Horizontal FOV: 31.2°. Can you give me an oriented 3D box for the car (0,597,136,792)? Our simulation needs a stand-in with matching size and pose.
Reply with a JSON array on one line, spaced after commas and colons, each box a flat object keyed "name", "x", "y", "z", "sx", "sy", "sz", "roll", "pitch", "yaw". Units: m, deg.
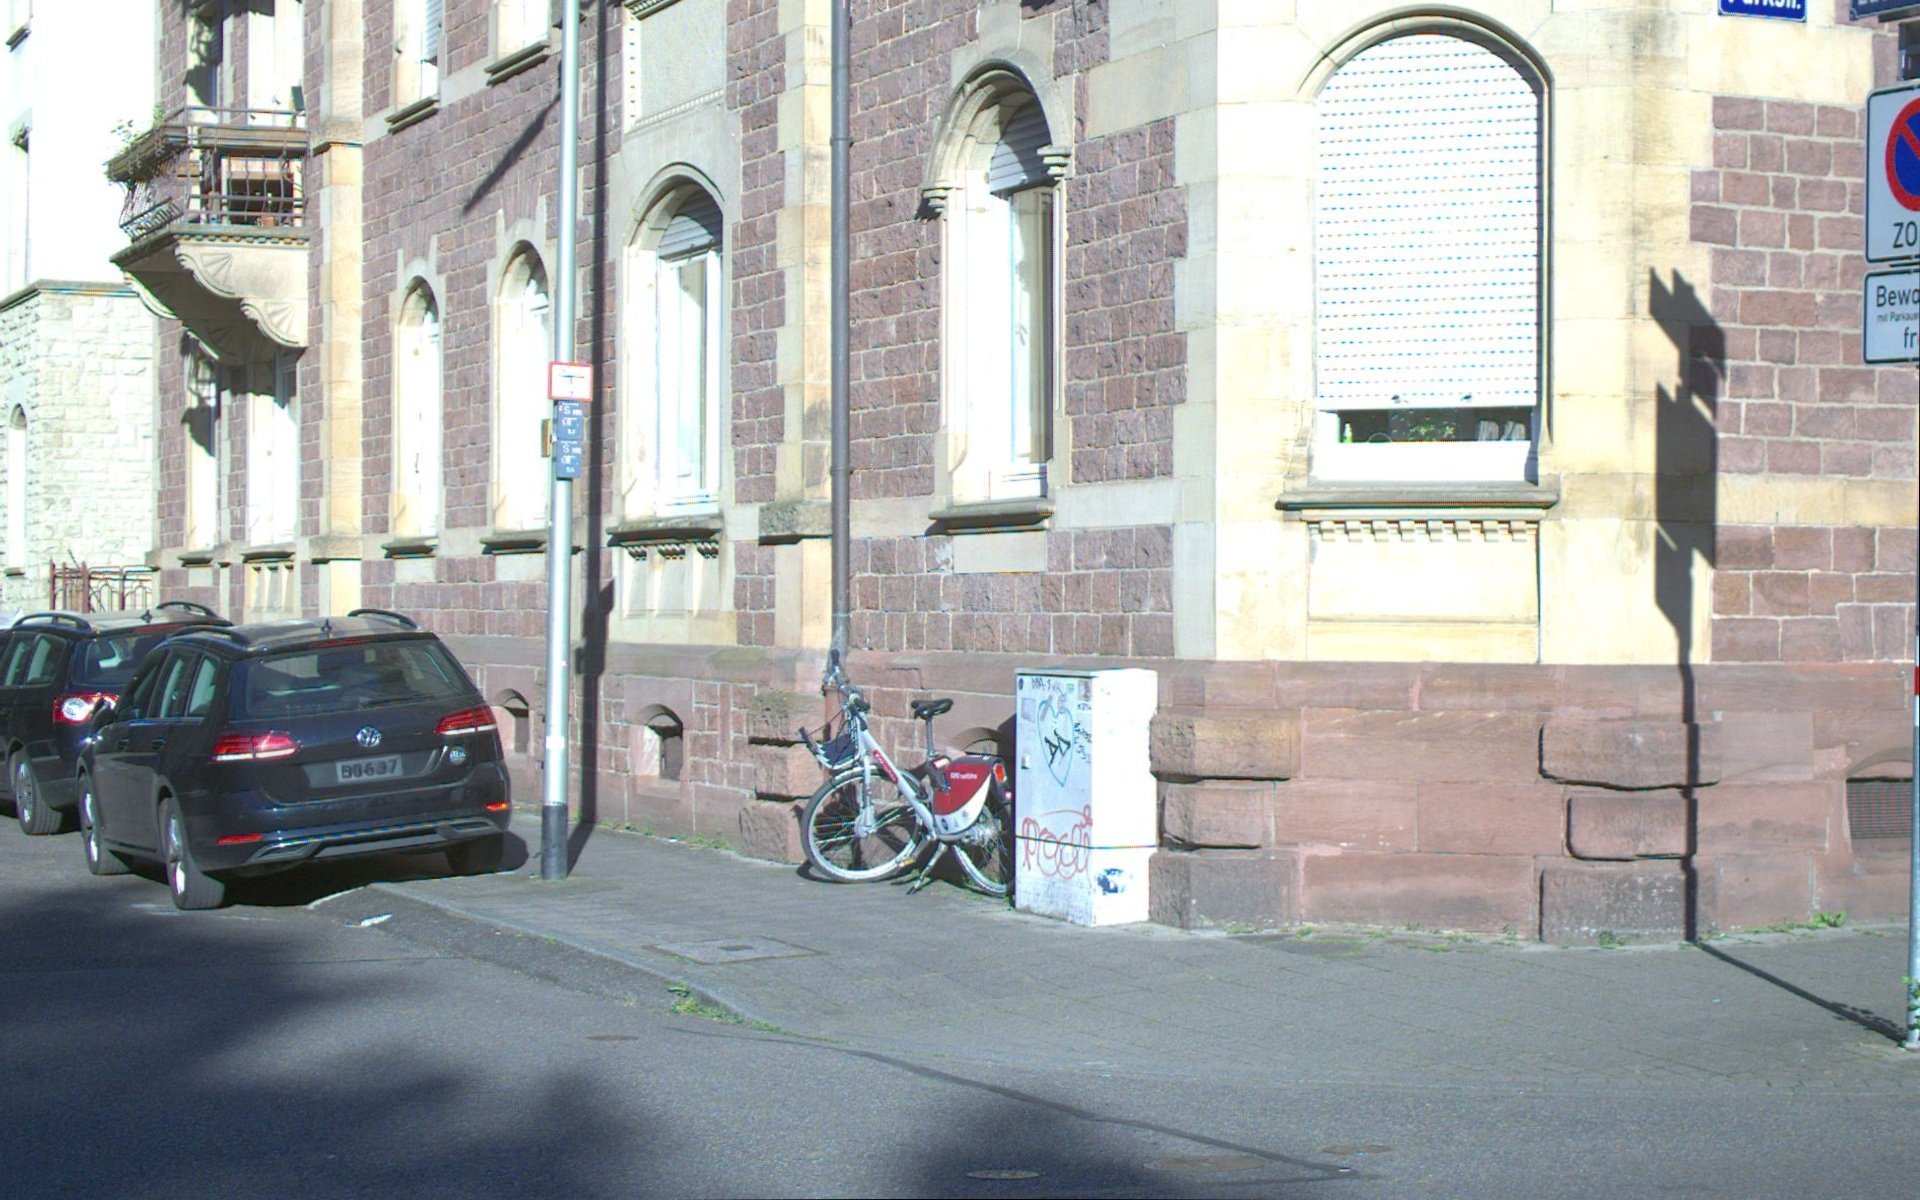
[{"name": "car", "x": -8.395, "y": 0.765, "z": 29.731, "sx": 1.737, "sy": 1.576, "sz": 4.001, "roll": 2, "pitch": -1, "yaw": -24}]

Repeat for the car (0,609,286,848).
[{"name": "car", "x": -6.208, "y": 0.870, "z": 24.862, "sx": 1.737, "sy": 1.576, "sz": 4.001, "roll": 2, "pitch": -1, "yaw": -24}]

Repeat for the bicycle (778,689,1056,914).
[{"name": "bicycle", "x": -0.228, "y": 0.951, "z": 16.635, "sx": 0.514, "sy": 0.994, "sz": 1.576, "roll": 2, "pitch": -1, "yaw": -36}]

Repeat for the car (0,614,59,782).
[{"name": "car", "x": -10.128, "y": 0.911, "z": 33.926, "sx": 1.737, "sy": 1.576, "sz": 4.001, "roll": 2, "pitch": -1, "yaw": -24}]

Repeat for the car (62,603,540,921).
[{"name": "car", "x": -3.789, "y": 0.827, "z": 19.238, "sx": 1.737, "sy": 1.576, "sz": 4.001, "roll": 2, "pitch": -1, "yaw": -24}]
